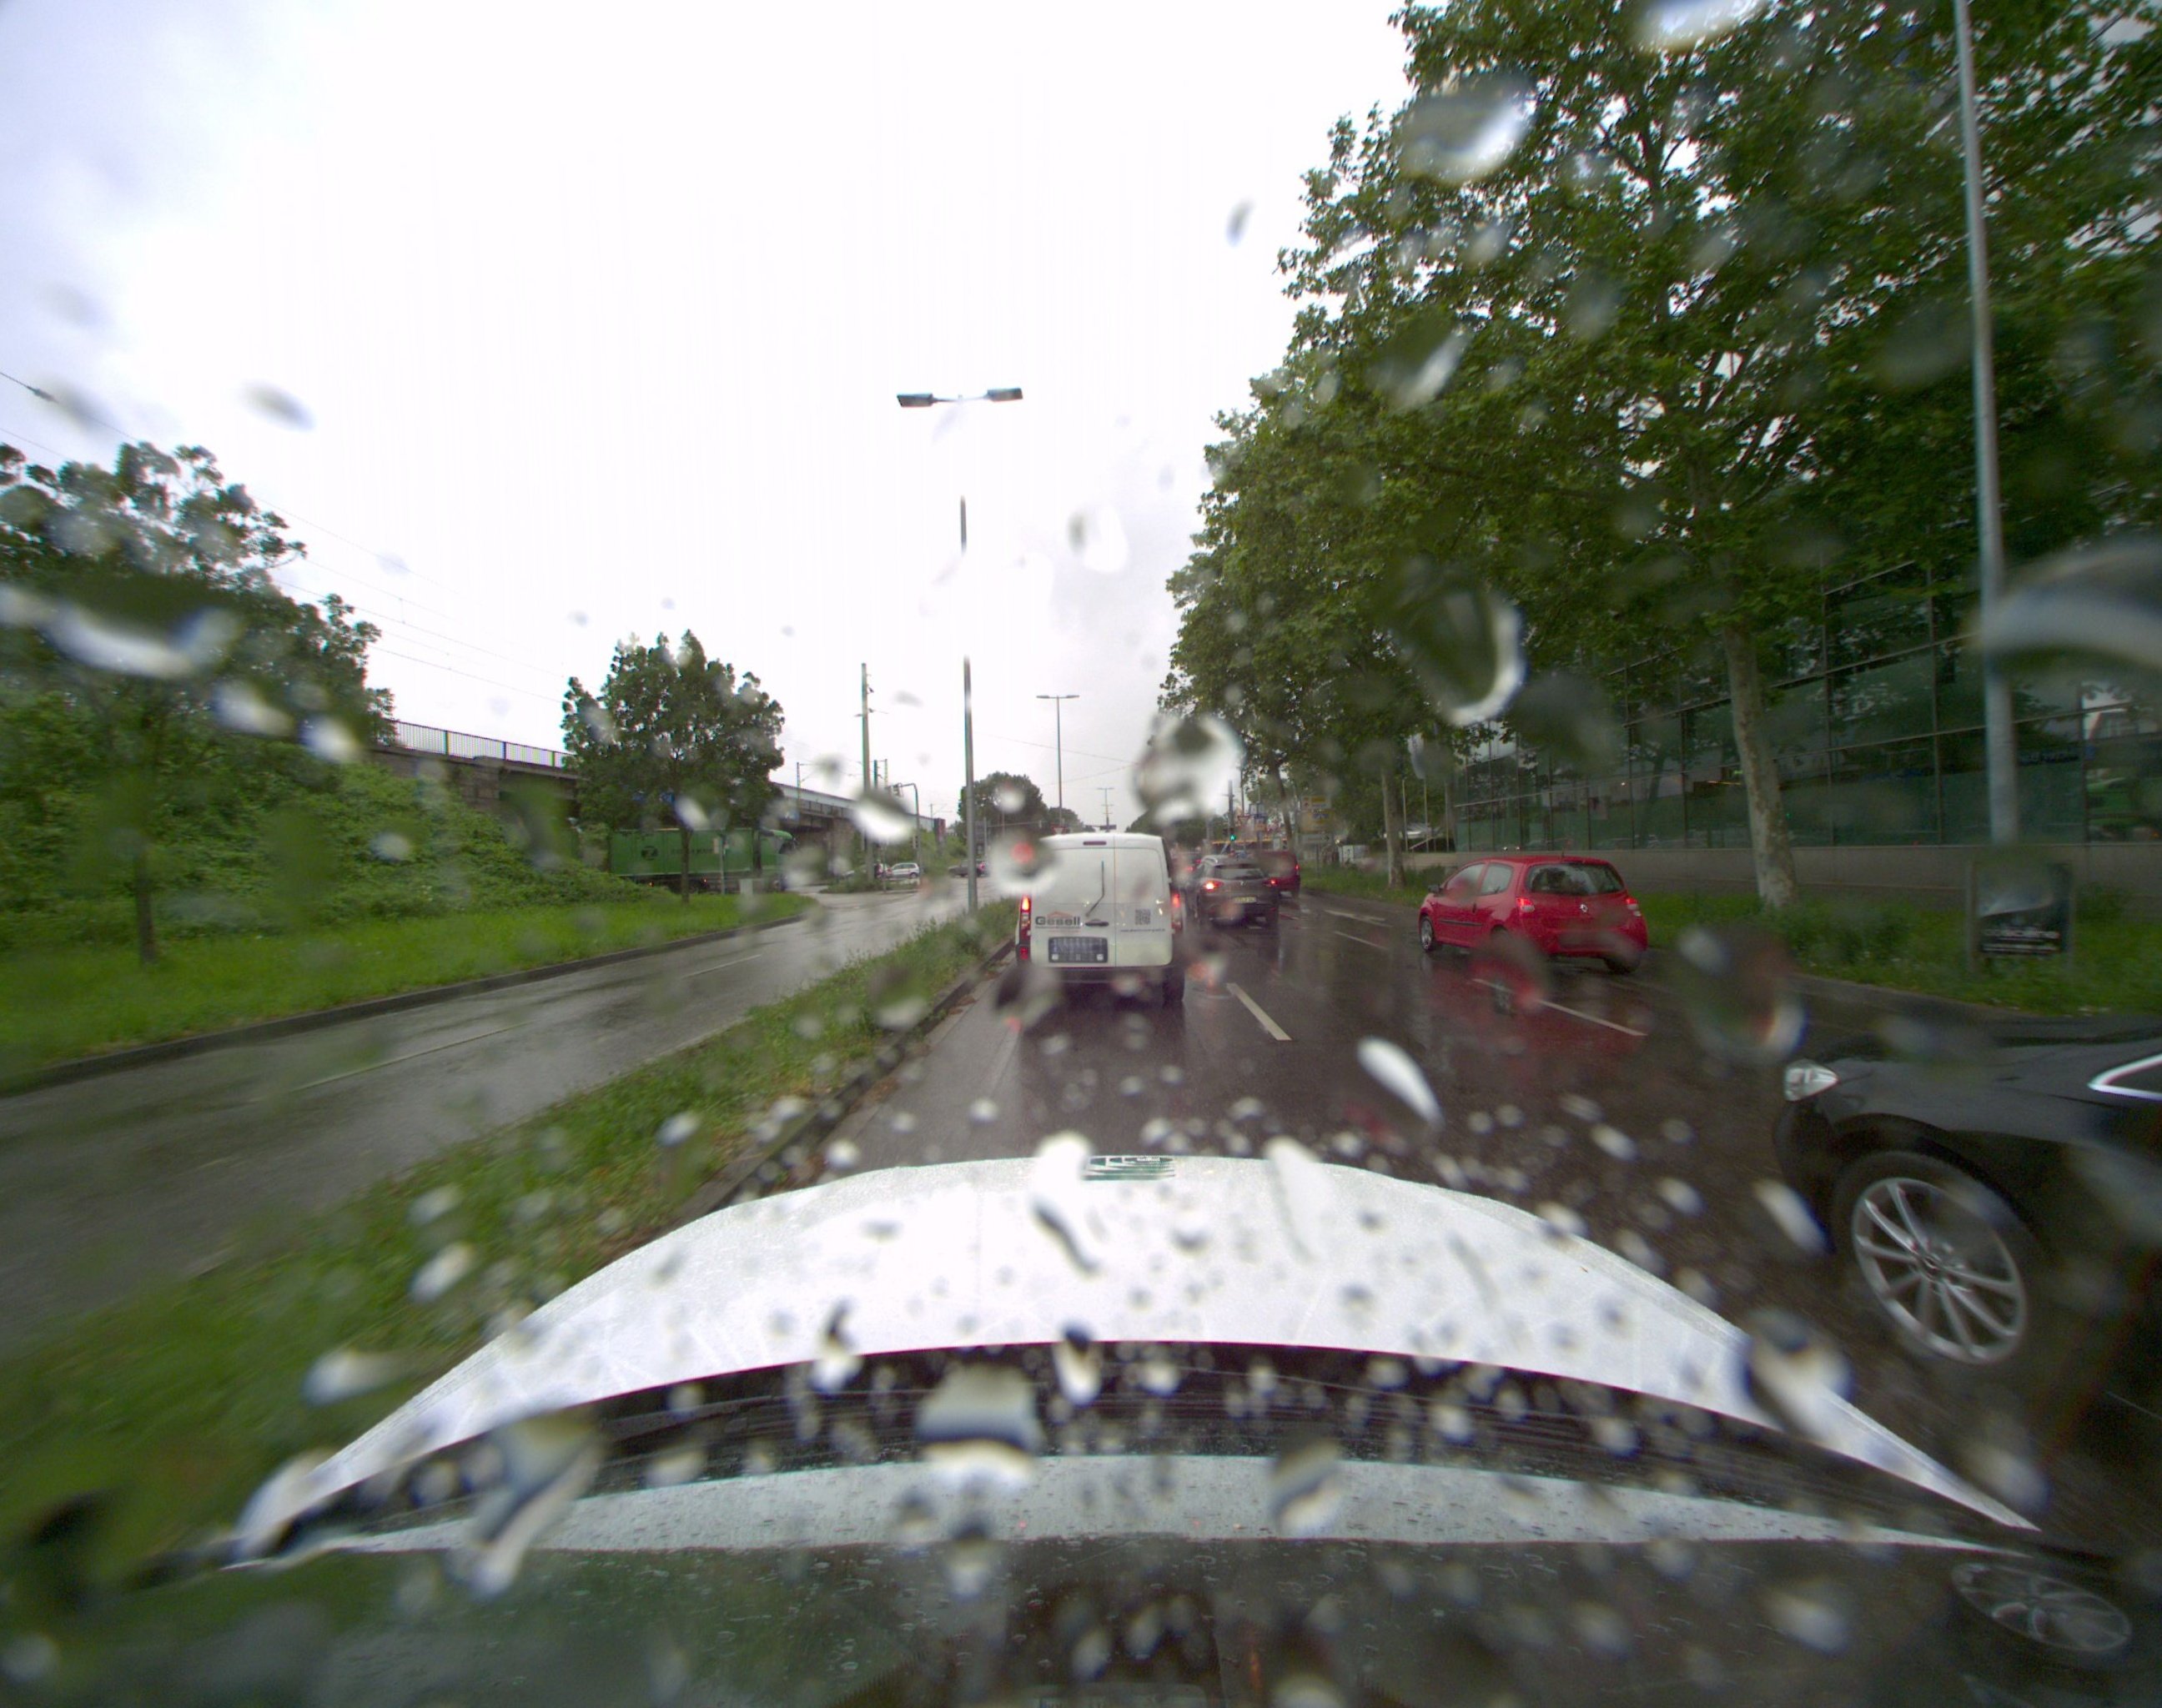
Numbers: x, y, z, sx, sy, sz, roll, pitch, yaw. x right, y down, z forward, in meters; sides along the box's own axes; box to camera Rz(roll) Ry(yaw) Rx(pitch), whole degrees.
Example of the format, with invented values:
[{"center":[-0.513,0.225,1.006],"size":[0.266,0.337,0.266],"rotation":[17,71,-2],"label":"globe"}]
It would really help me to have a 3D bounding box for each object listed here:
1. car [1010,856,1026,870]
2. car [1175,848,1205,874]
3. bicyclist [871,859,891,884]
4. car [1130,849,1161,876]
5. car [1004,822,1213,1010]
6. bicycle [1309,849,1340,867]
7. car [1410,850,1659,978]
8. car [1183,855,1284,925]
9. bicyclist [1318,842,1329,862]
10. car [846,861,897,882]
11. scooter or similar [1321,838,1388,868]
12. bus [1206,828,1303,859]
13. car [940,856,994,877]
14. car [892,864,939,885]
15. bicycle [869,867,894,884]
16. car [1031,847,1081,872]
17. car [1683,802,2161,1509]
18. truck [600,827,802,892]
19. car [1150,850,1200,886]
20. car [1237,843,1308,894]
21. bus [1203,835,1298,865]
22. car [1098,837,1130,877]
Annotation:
[{"center":[-7.749,1.087,100.470],"size":[1.463,1.559,3.509],"rotation":[-2,0,2],"label":"car"},{"center":[7.805,0.492,58.668],"size":[1.701,1.728,3.845],"rotation":[-1,0,2],"label":"car"},{"center":[-12.199,1.068,49.718],"size":[1.045,1.450,0.723],"rotation":[-2,0,-23],"label":"bicyclist"},{"center":[4.154,0.536,53.083],"size":[1.847,1.649,3.845],"rotation":[-1,0,2],"label":"car"},{"center":[0.348,0.590,10.180],"size":[1.986,1.776,4.587],"rotation":[-1,0,2],"label":"car"},{"center":[17.069,0.285,56.949],"size":[0.613,1.186,3.394],"rotation":[-2,-1,43],"label":"bicycle"},{"center":[5.947,0.695,11.151],"size":[1.563,1.462,3.390],"rotation":[-1,0,1],"label":"car"},{"center":[3.378,0.749,18.642],"size":[1.677,1.408,3.844],"rotation":[0,0,1],"label":"car"},{"center":[16.913,-0.126,56.814],"size":[0.613,1.419,0.473],"rotation":[-2,-1,43],"label":"bicyclist"},{"center":[-17.625,1.493,68.597],"size":[3.809,1.543,1.996],"rotation":[-3,-1,-5],"label":"car"},{"center":[23.576,-0.049,70.270],"size":[1.905,2.446,5.257],"rotation":[-1,0,-38],"label":"scooter or similar"},{"center":[22.130,-1.376,104.177],"size":[11.925,3.423,2.316],"rotation":[-2,0,2],"label":"bus"},{"center":[-9.555,1.069,68.190],"size":[4.140,1.651,1.810],"rotation":[-1,0,24],"label":"car"},{"center":[-15.296,1.932,75.350],"size":[3.999,1.717,1.987],"rotation":[-3,-1,-19],"label":"car"},{"center":[-12.191,1.303,49.703],"size":[1.045,0.952,2.867],"rotation":[-2,0,-22],"label":"bicycle"},{"center":[-1.990,0.407,63.147],"size":[2.008,1.815,3.958],"rotation":[-2,1,-34],"label":"car"},{"center":[3.231,0.649,1.151],"size":[1.742,1.554,4.090],"rotation":[-1,0,0],"label":"car"},{"center":[-21.252,0.186,46.055],"size":[10.104,3.371,2.322],"rotation":[-1,0,-34],"label":"truck"},{"center":[4.058,0.572,35.761],"size":[1.847,1.460,3.845],"rotation":[-1,0,2],"label":"car"},{"center":[6.888,0.520,29.685],"size":[1.704,1.694,4.273],"rotation":[0,-1,2],"label":"car"},{"center":[22.445,-0.567,108.139],"size":[11.938,3.423,2.481],"rotation":[-2,0,-2],"label":"bus"},{"center":[1.993,0.171,49.622],"size":[1.847,2.296,3.845],"rotation":[-1,0,2],"label":"car"}]
